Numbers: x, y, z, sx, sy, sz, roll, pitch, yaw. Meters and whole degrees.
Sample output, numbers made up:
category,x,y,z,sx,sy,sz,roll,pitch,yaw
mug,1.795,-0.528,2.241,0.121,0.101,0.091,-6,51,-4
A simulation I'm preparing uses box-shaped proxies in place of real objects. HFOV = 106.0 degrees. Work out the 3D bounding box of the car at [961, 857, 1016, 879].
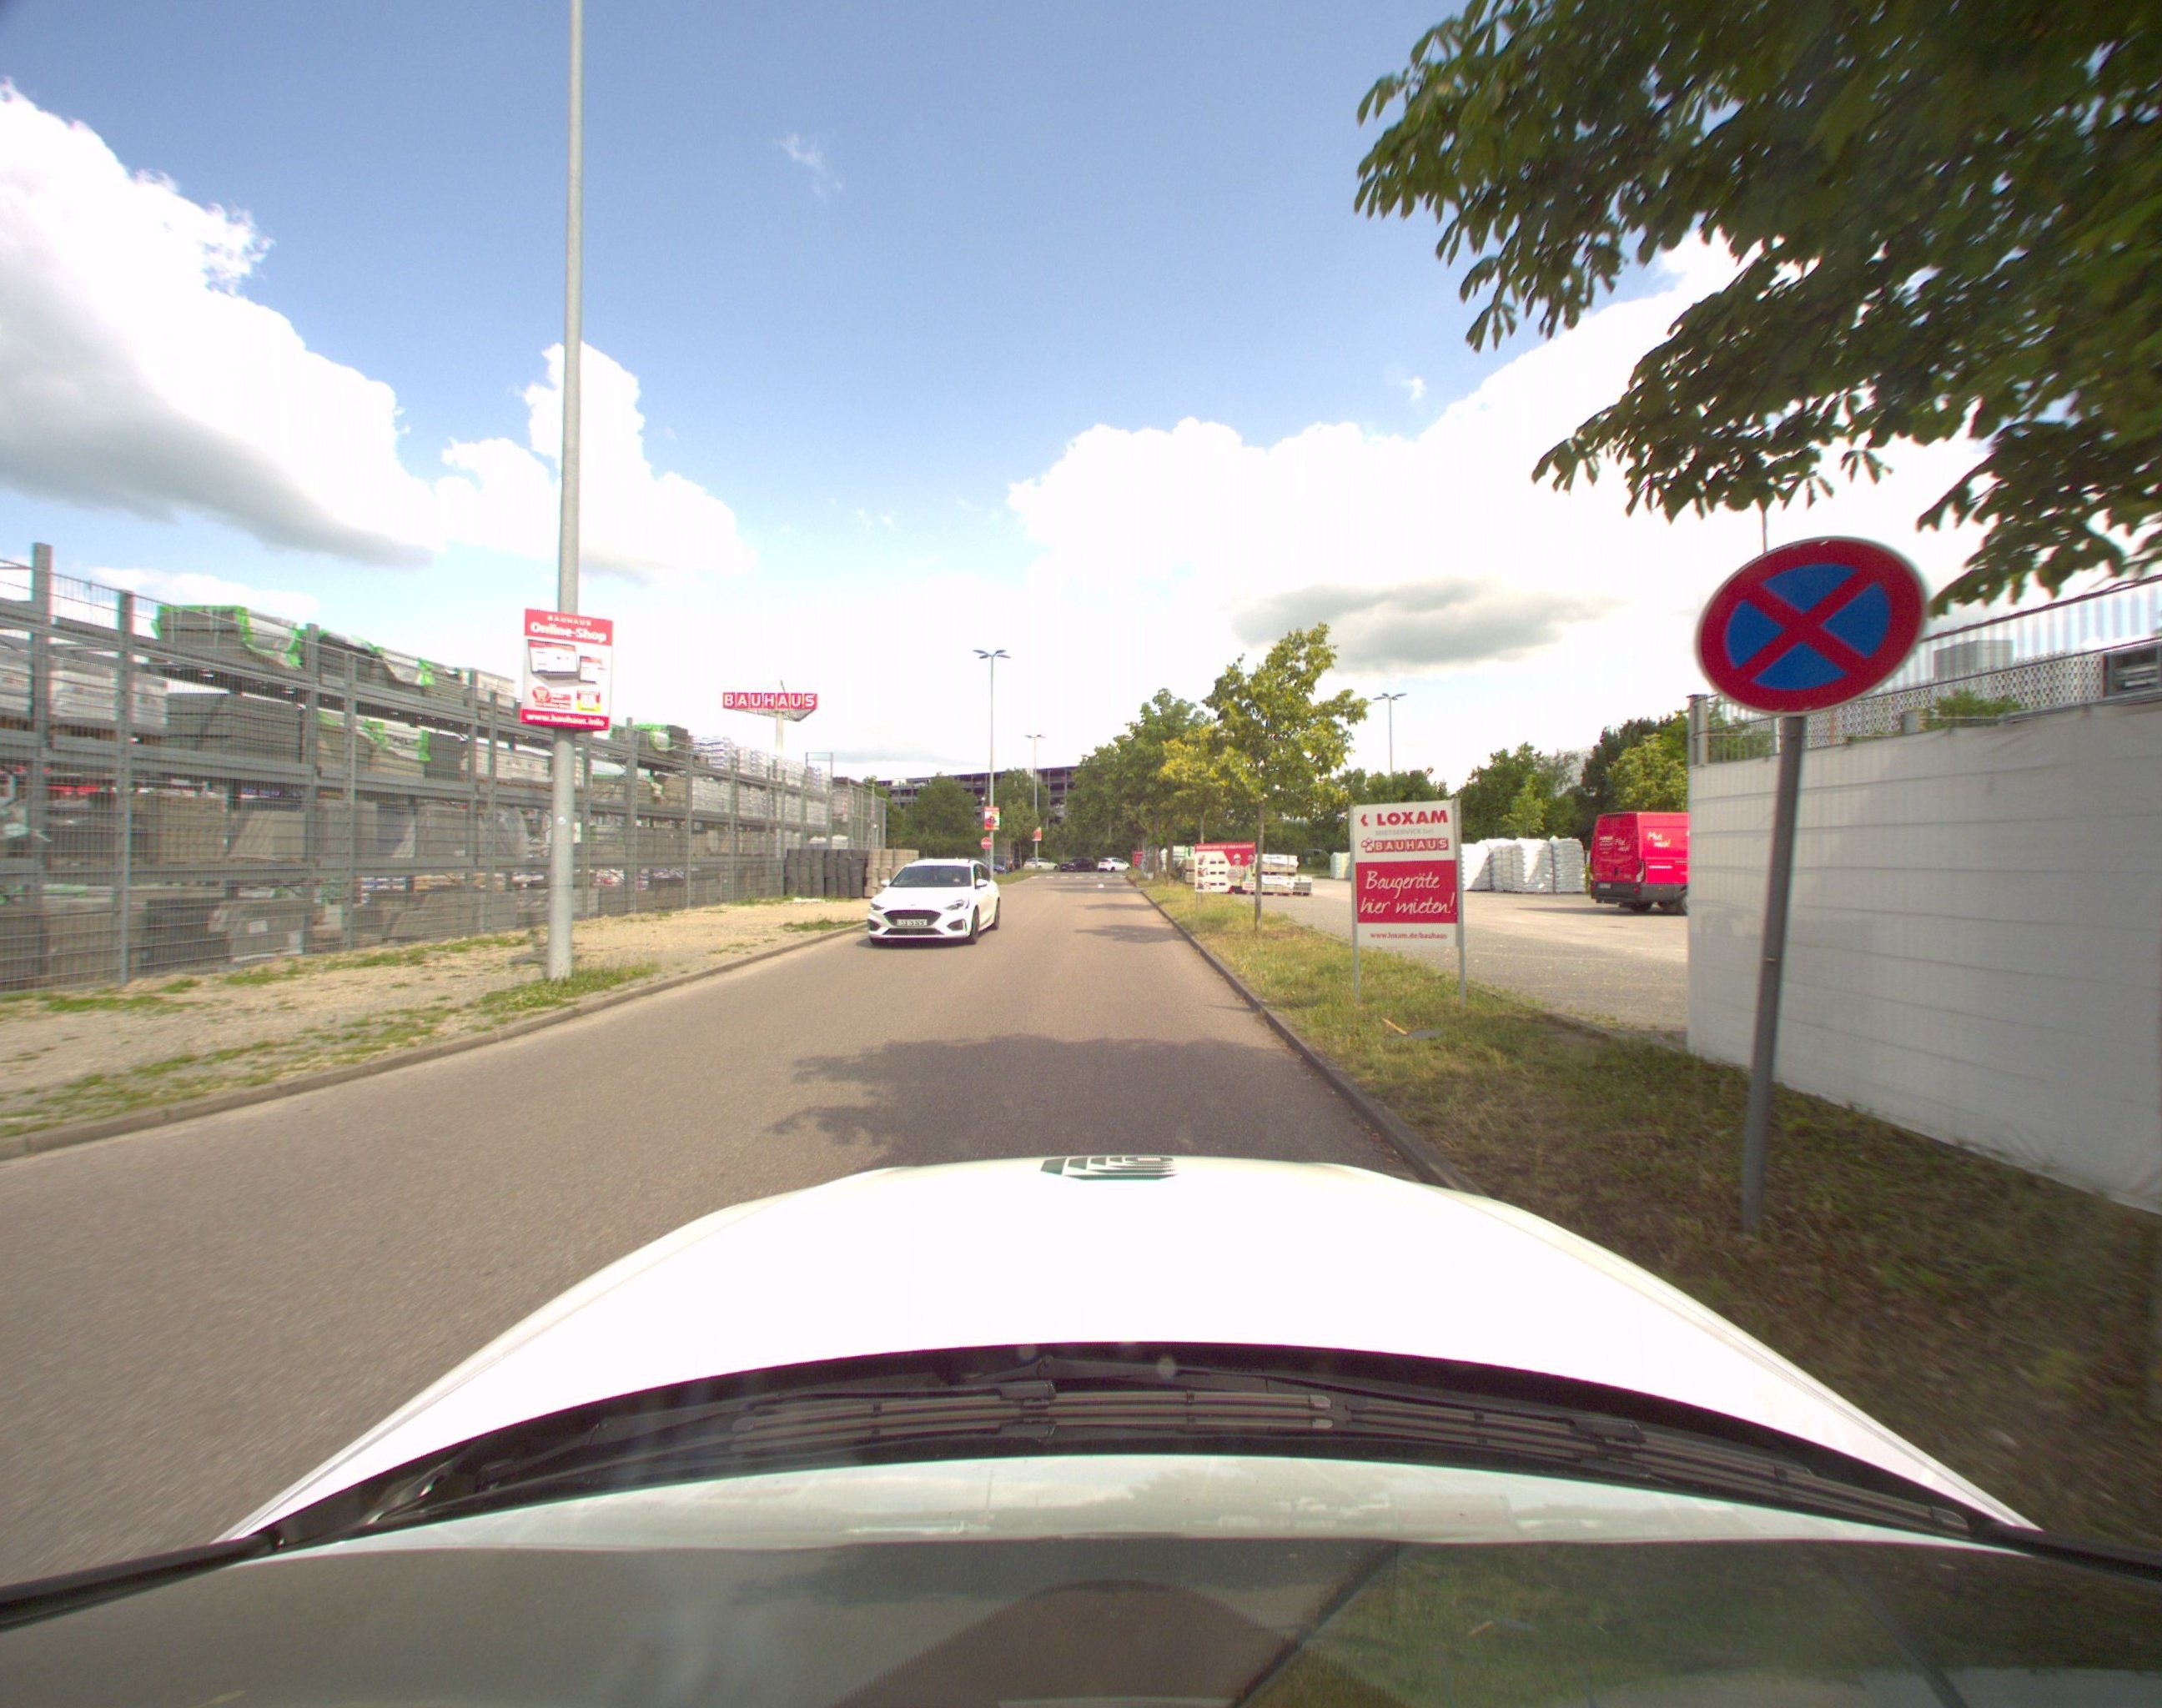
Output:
category,x,y,z,sx,sy,sz,roll,pitch,yaw
car,-7.077,1.078,62.703,3.933,1.624,1.737,0,-1,3

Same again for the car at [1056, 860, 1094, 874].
category,x,y,z,sx,sy,sz,roll,pitch,yaw
car,-0.630,1.335,83.735,1.711,1.410,4.269,0,-1,36

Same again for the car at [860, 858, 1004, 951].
category,x,y,z,sx,sy,sz,roll,pitch,yaw
car,-2.592,0.813,15.220,1.797,1.464,4.330,1,0,1

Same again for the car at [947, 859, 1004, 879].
category,x,y,z,sx,sy,sz,roll,pitch,yaw
car,-7.427,1.055,57.577,3.737,1.368,1.621,0,0,1

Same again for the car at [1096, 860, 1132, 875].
category,x,y,z,sx,sy,sz,roll,pitch,yaw
car,3.273,1.318,80.726,1.649,1.411,3.579,0,-1,40

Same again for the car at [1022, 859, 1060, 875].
category,x,y,z,sx,sy,sz,roll,pitch,yaw
car,-4.197,1.397,86.412,1.668,1.510,4.107,-5,-4,39

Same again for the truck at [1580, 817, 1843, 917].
category,x,y,z,sx,sy,sz,roll,pitch,yaw
truck,16.475,0.323,21.485,5.412,2.515,2.115,0,0,-2
